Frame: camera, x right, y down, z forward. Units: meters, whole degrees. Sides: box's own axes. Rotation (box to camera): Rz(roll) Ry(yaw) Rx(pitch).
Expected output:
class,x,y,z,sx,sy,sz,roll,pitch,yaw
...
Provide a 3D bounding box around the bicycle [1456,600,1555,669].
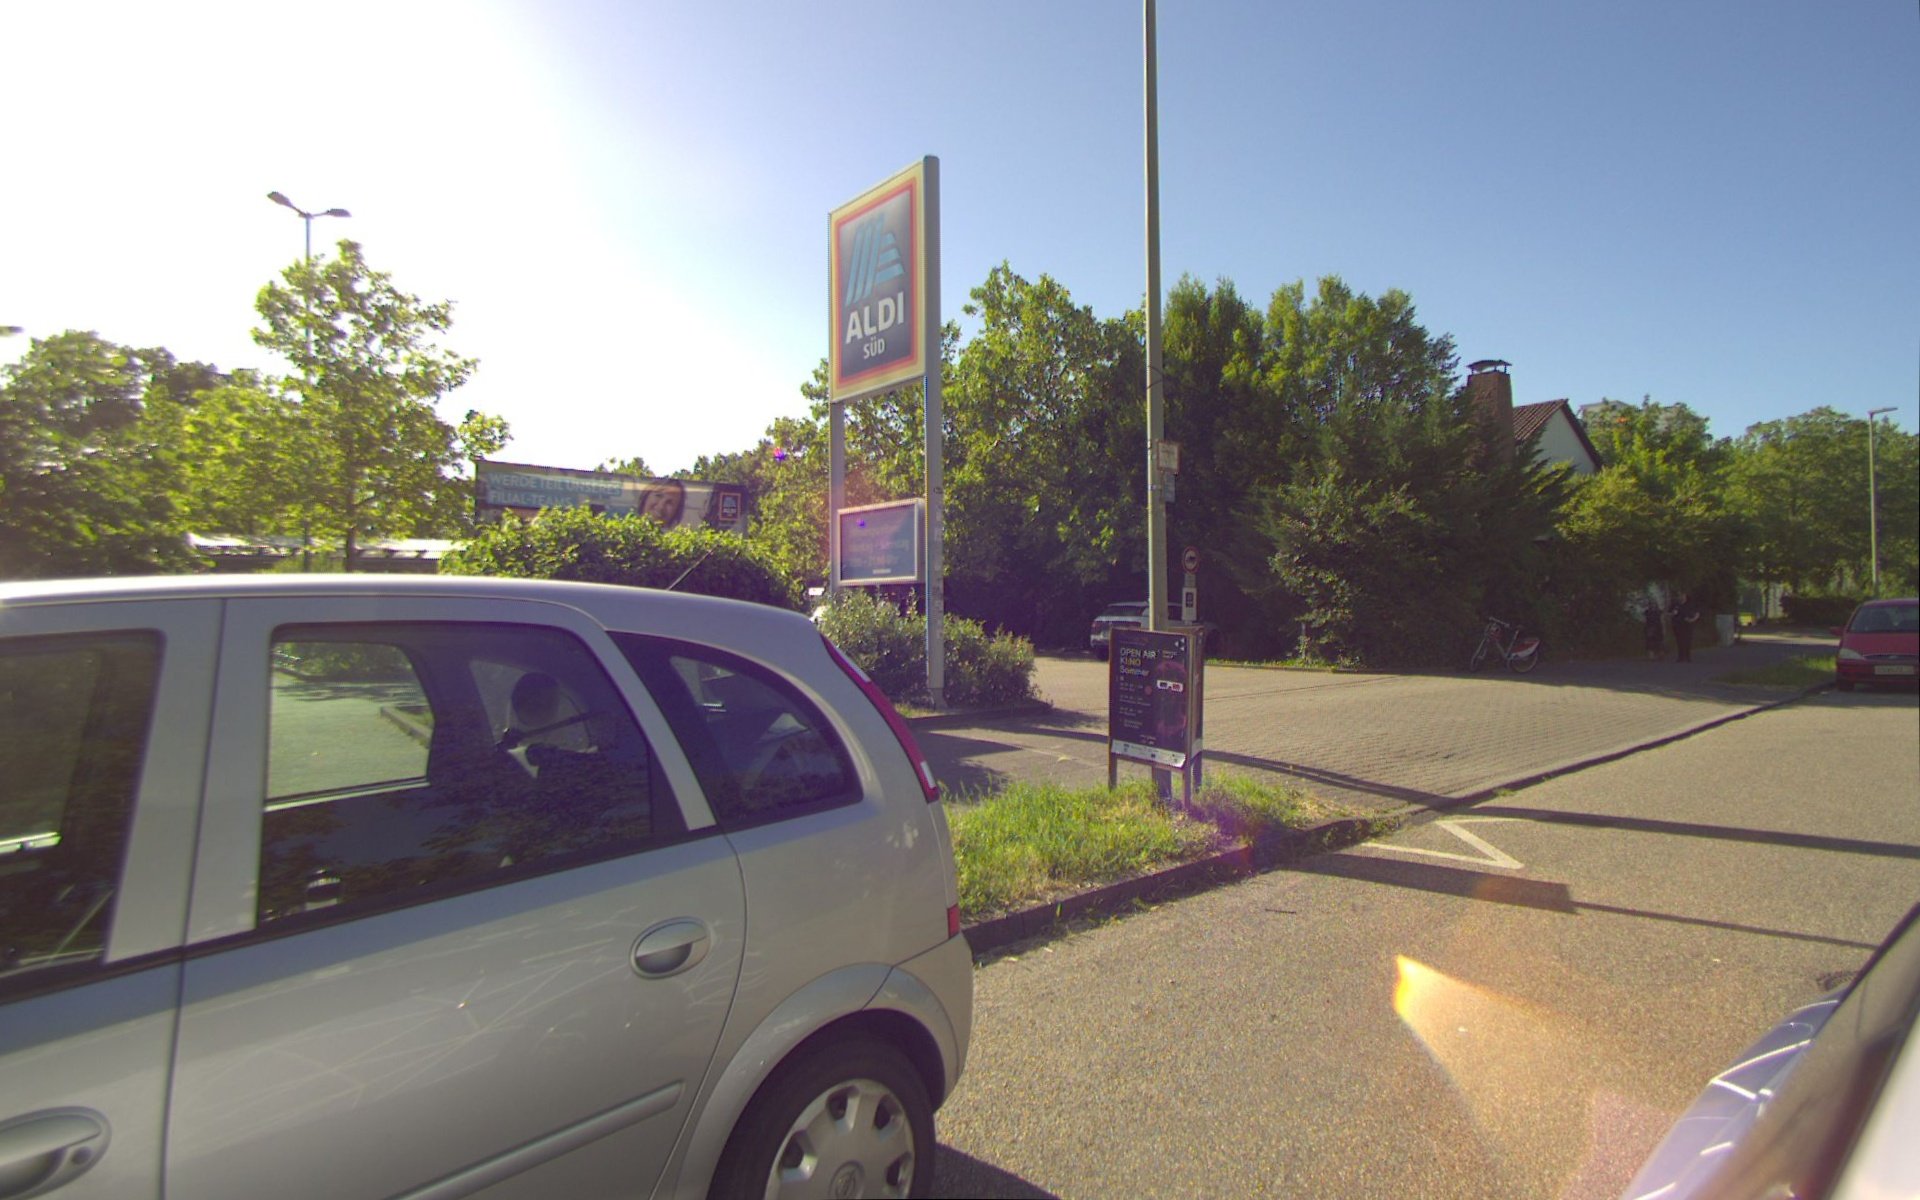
class,x,y,z,sx,sy,sz,roll,pitch,yaw
bicycle,10.628,0.656,19.699,1.857,1.236,0.724,-1,2,-25

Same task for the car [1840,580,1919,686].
class,x,y,z,sx,sy,sz,roll,pitch,yaw
car,18.172,0.573,18.953,4.571,1.828,1.843,0,-1,-40

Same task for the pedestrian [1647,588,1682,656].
class,x,y,z,sx,sy,sz,roll,pitch,yaw
pedestrian,17.472,0.526,25.107,0.779,1.629,0.573,-2,2,-44

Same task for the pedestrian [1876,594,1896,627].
class,x,y,z,sx,sy,sz,roll,pitch,yaw
pedestrian,46.296,0.515,50.591,0.629,1.659,0.641,0,-1,-38

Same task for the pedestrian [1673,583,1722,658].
class,x,y,z,sx,sy,sz,roll,pitch,yaw
pedestrian,17.938,0.475,24.607,0.968,1.738,0.804,-2,2,-44

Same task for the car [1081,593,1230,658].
class,x,y,z,sx,sy,sz,roll,pitch,yaw
car,4.990,0.613,25.623,3.735,1.522,1.775,0,-1,-41

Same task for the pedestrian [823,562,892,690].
class,x,y,z,sx,sy,sz,roll,pitch,yaw
pedestrian,-1.374,0.336,13.502,0.760,1.652,0.695,0,-1,-20

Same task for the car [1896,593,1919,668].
class,x,y,z,sx,sy,sz,roll,pitch,yaw
car,23.267,0.677,23.556,4.277,1.677,1.727,0,-1,-41

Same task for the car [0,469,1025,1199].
class,x,y,z,sx,sy,sz,roll,pitch,yaw
car,-1.874,0.697,1.710,3.962,1.620,1.680,-1,-3,-44
